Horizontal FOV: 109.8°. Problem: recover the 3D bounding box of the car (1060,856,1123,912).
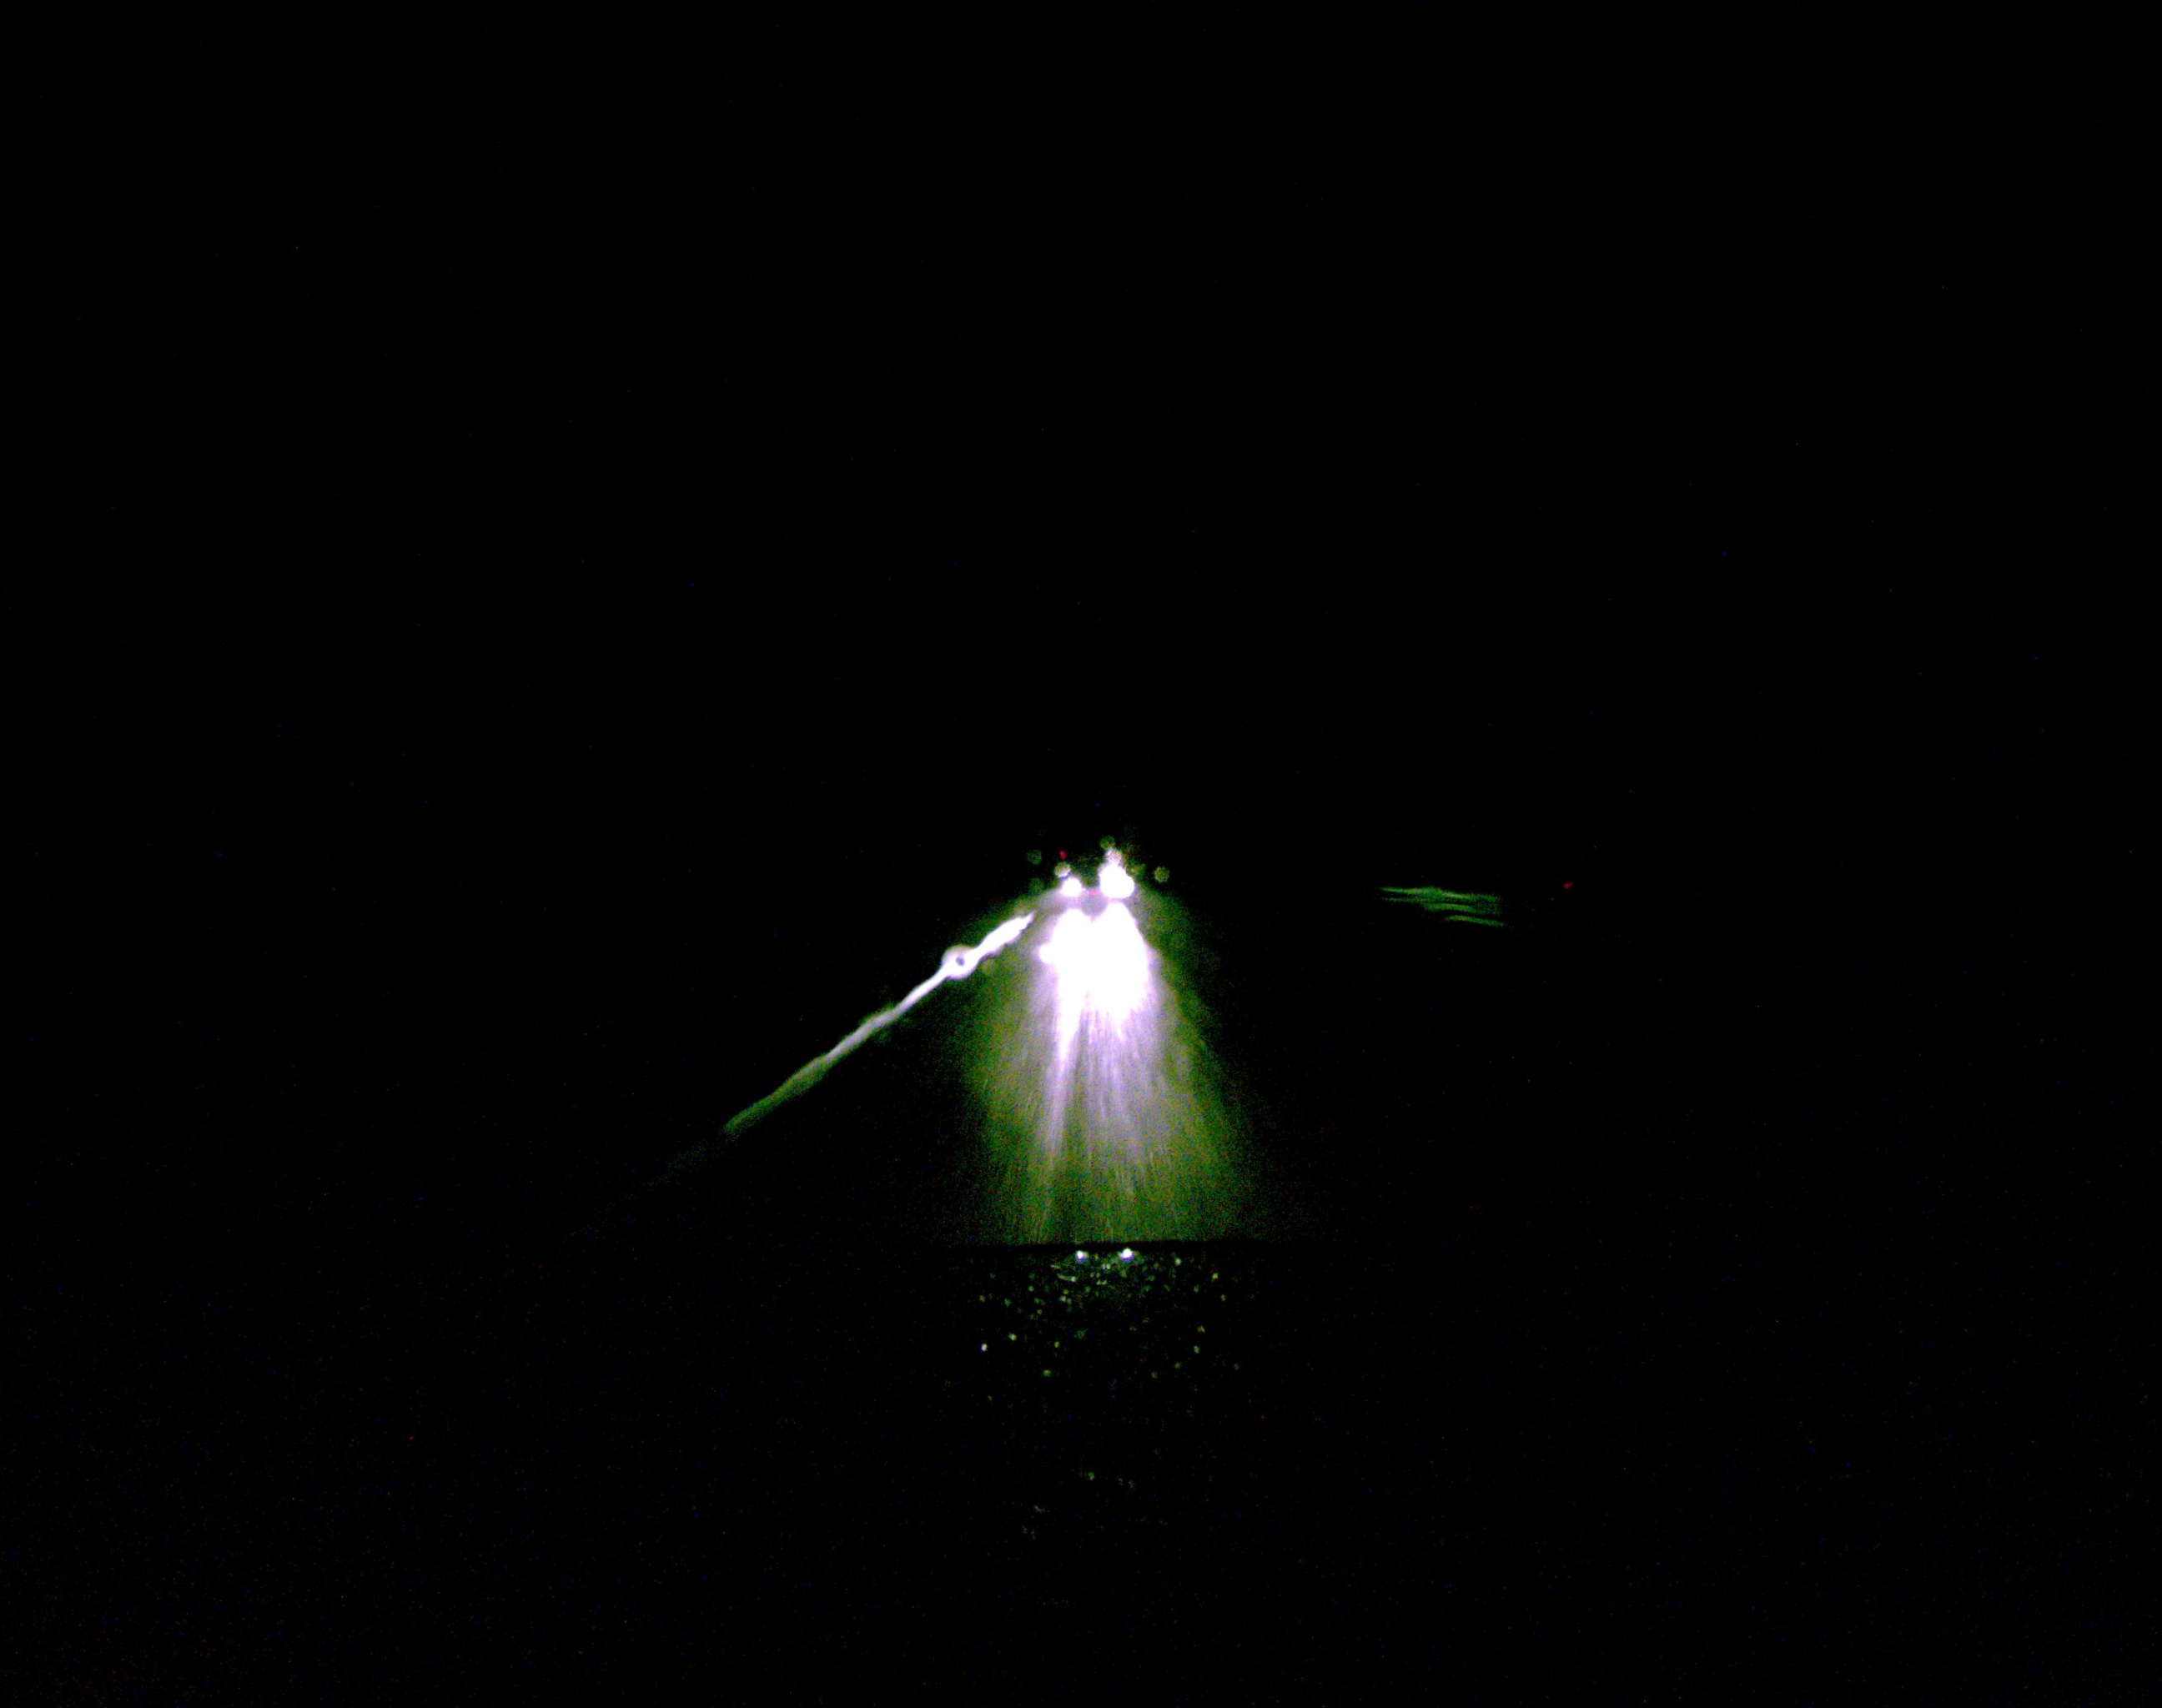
[{"bbox_3d":[0.428,0.981,26.569,1.862,1.601,4.421,-6,-1,2],"label":"car"}]
